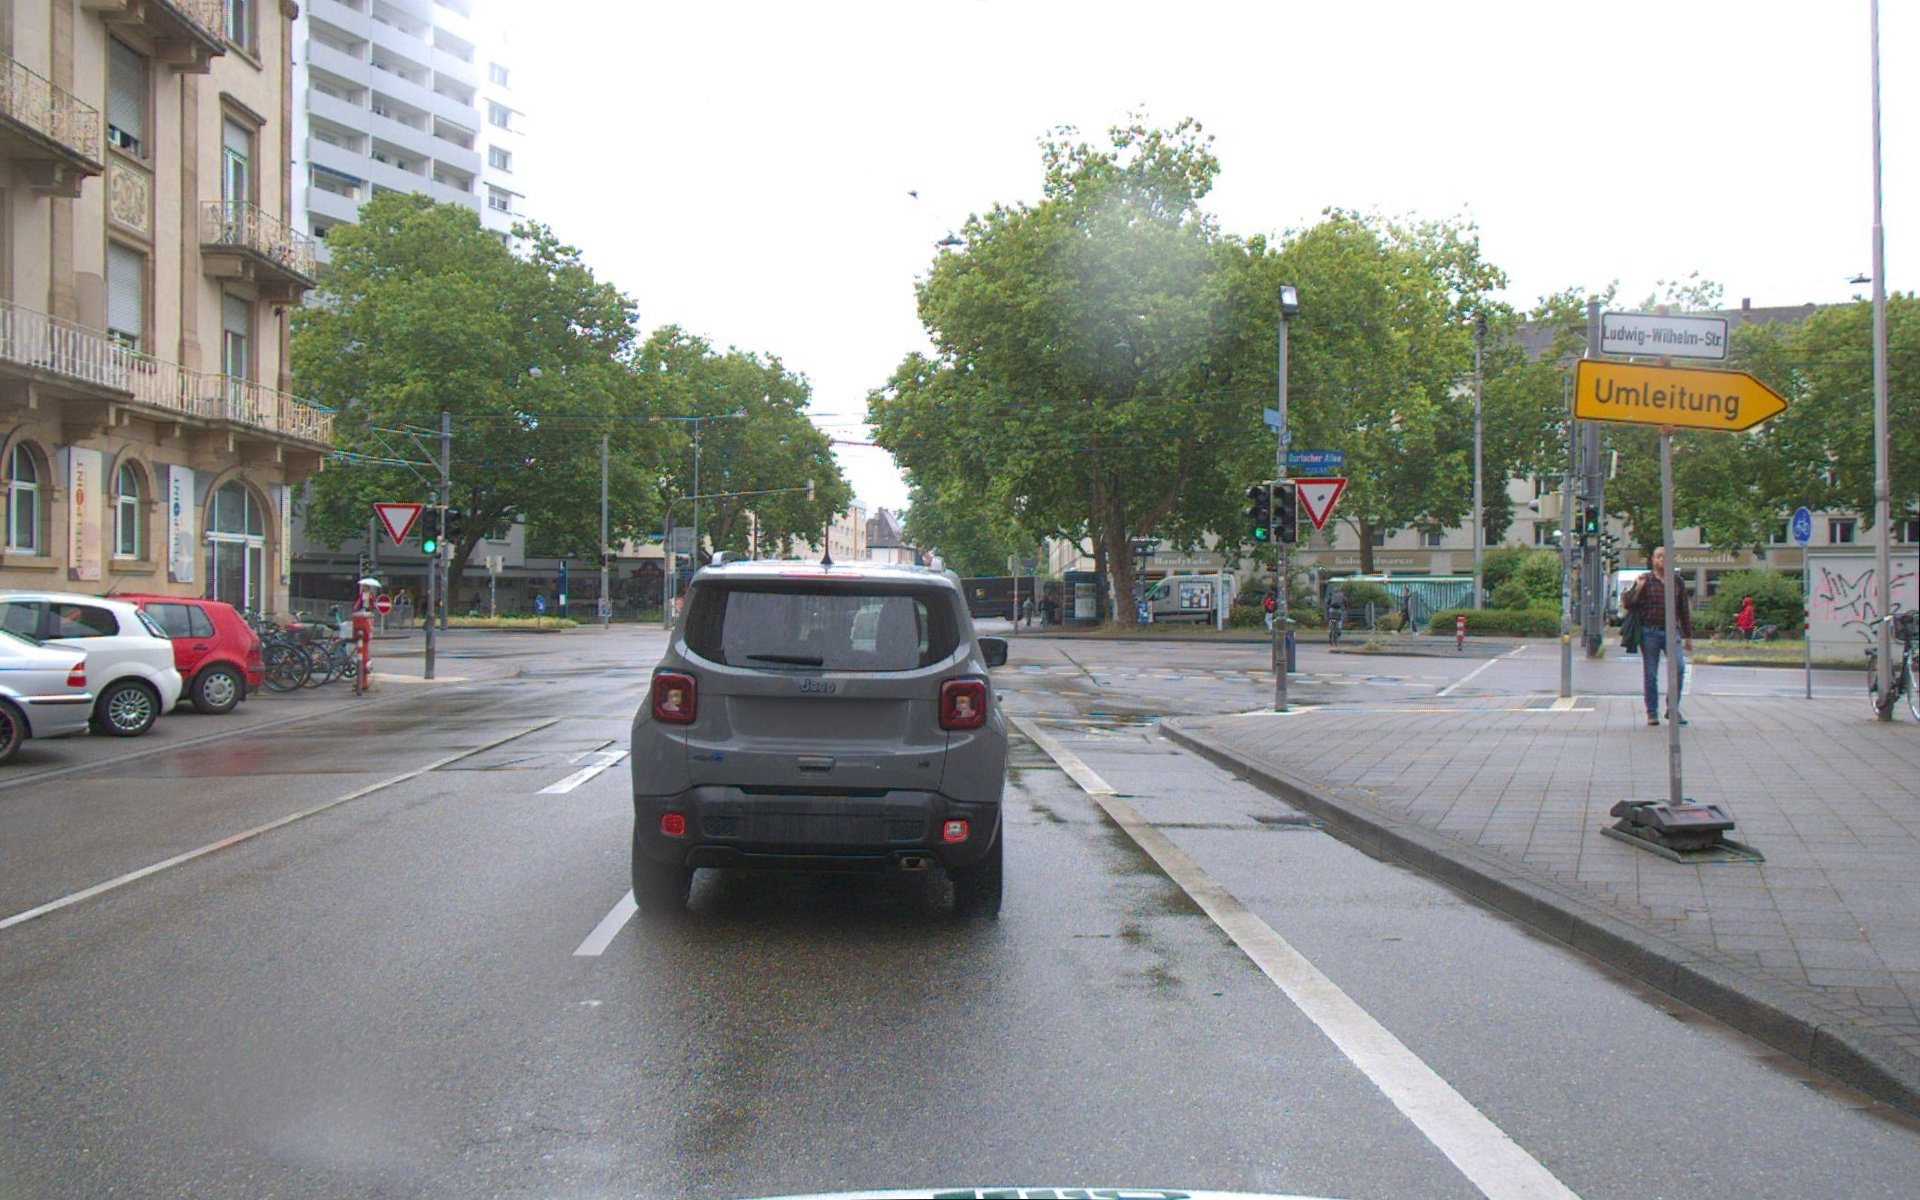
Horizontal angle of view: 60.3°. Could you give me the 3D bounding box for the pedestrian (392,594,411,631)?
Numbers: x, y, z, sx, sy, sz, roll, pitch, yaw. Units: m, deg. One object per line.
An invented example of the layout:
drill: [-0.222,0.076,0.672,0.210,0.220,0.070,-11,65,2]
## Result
pedestrian: [-23.319,0.517,69.085,0.433,1.556,0.643,0,0,25]

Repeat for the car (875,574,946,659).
car: [-1.248,0.393,42.254,1.734,2.049,3.999,0,0,-1]

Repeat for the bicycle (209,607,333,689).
bicycle: [-11.119,0.766,26.724,1.728,1.288,0.608,0,0,-3]

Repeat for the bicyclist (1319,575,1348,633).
bicyclist: [10.622,0.113,47.023,0.672,1.646,0.884,-1,0,19]

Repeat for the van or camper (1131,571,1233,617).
van or camper: [11.713,-0.339,87.583,5.149,2.356,2.091,0,0,3]

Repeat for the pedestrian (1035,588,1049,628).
pedestrian: [4.222,0.429,85.443,0.637,2.049,0.483,0,0,11]

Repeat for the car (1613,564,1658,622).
car: [31.438,-0.323,76.929,1.868,2.600,4.786,0,0,23]

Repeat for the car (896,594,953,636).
car: [-1.119,0.445,51.198,1.561,1.274,3.571,0,0,-5]

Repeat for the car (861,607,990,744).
car: [-0.388,0.788,18.808,1.336,1.400,3.311,0,0,-1]

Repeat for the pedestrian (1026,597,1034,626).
pedestrian: [4.135,0.696,97.991,0.448,1.733,0.424,0,0,0]

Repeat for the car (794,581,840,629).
car: [-5.397,0.173,62.460,1.688,1.769,3.726,0,0,-5]

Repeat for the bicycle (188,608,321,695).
bicycle: [-10.655,0.775,25.021,1.774,1.288,0.498,0,0,-3]

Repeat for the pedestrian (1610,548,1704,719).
pedestrian: [7.489,0.352,17.818,0.769,1.790,0.946,-1,0,14]

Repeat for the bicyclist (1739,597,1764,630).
bicyclist: [25.196,0.435,52.652,0.665,1.044,0.559,0,0,23]

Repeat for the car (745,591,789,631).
car: [-8.411,0.453,72.252,1.779,1.700,3.916,0,0,-5]

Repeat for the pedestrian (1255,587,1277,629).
pedestrian: [11.687,0.317,63.135,0.660,1.581,0.761,0,-2,27]

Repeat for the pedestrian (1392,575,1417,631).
pedestrian: [16.399,0.103,60.978,0.789,2.049,0.589,-1,0,26]

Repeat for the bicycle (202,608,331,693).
bicycle: [-10.763,0.783,25.704,1.774,1.288,0.498,0,0,-3]

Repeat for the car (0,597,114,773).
car: [-9.743,0.766,15.062,3.372,1.585,1.681,0,0,-40]

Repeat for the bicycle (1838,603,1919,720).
bicycle: [9.992,0.629,17.618,0.322,1.174,2.076,0,0,4]

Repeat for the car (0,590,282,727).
car: [-10.472,0.667,20.678,3.372,1.585,1.681,0,0,-40]

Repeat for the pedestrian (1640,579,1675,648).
pedestrian: [17.192,0.325,40.791,0.767,1.674,0.655,-1,0,23]

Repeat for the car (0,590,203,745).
car: [-10.140,0.688,17.744,3.372,1.585,1.681,0,0,-40]

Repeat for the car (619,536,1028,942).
car: [-0.646,0.590,9.092,1.739,1.716,3.847,-1,0,-2]

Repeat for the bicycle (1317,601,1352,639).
bicycle: [10.688,0.556,47.179,0.677,1.039,2.659,-1,0,19]

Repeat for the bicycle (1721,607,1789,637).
bicycle: [25.273,0.688,52.622,1.926,0.927,0.559,0,0,23]

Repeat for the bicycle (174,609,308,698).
bicycle: [-10.628,0.785,24.474,1.728,1.288,0.522,0,0,-3]

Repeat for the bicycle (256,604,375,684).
bicycle: [-10.743,0.727,27.611,1.728,1.288,0.608,0,0,-3]

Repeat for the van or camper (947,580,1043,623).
van or camper: [2.459,0.122,117.440,6.398,2.963,2.492,0,0,26]

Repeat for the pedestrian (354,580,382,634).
pedestrian: [-20.438,0.239,57.127,0.605,1.858,0.695,-1,0,12]
